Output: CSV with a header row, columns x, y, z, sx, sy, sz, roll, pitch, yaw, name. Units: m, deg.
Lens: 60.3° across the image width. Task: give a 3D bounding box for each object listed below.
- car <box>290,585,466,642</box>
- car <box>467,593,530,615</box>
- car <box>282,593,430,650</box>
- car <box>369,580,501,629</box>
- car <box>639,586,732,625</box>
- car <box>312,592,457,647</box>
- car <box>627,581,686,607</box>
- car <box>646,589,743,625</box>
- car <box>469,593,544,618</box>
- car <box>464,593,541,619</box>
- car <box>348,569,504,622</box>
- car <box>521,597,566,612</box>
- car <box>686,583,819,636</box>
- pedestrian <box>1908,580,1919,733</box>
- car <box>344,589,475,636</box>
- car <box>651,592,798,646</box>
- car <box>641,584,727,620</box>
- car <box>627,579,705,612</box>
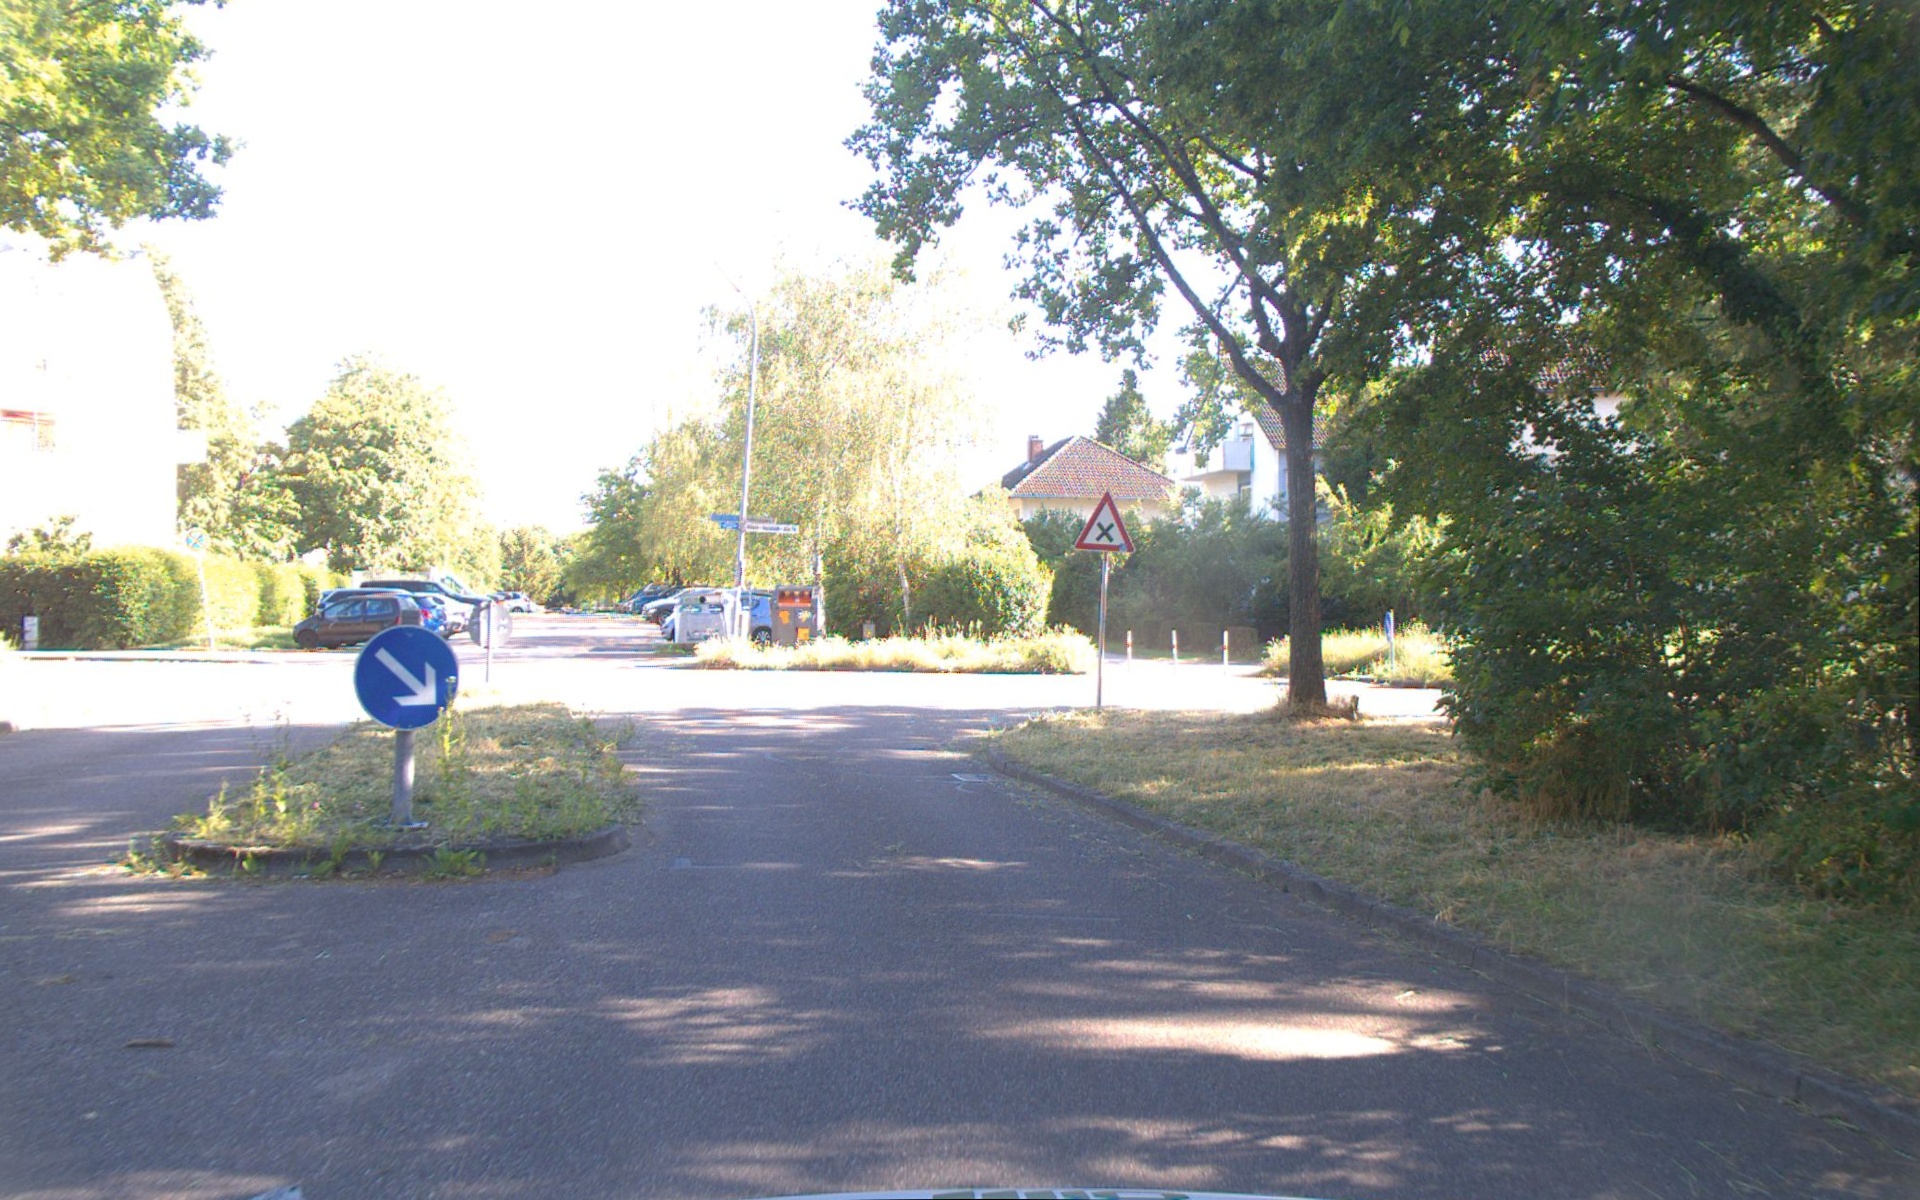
x,y,z,sx,sy,sz,roll,pitch,yaw,name
-18.220,0.407,51.922,4.897,1.683,1.782,-1,1,-7,car
-30.177,0.253,108.275,3.872,1.357,1.841,0,0,-13,car
-16.634,0.583,45.642,3.448,1.492,1.705,0,1,4,car
-19.601,0.175,61.906,4.437,1.802,1.844,0,0,-8,car
-11.813,0.228,71.339,3.914,1.613,1.794,1,-1,-10,car
-16.751,0.544,48.237,3.604,1.522,1.651,-1,1,0,car
-20.817,-0.416,113.510,3.914,1.738,1.794,1,-1,-10,car
-10.992,0.286,68.548,3.914,1.425,1.794,1,0,-10,car
-25.010,0.268,91.316,3.872,1.357,1.841,0,0,-13,car
-24.461,0.290,88.599,3.872,1.357,1.841,0,0,-13,car
-22.604,-0.182,70.279,6.151,2.184,2.402,0,0,-15,car
-34.500,0.366,137.046,3.582,1.234,1.841,0,0,-13,car
-6.716,0.305,53.470,3.989,1.631,1.782,1,1,-18,car
10.198,0.588,17.139,0.391,1.588,0.532,0,-1,-34,pedestrian
-18.567,0.417,55.930,4.074,1.480,1.613,-1,0,-15,car
-6.758,0.545,47.801,3.969,1.464,1.635,1,0,0,car
-12.900,0.099,77.483,3.914,1.613,1.794,1,-1,-10,car
-15.193,-0.235,85.591,3.914,1.613,1.794,1,-1,-10,car
